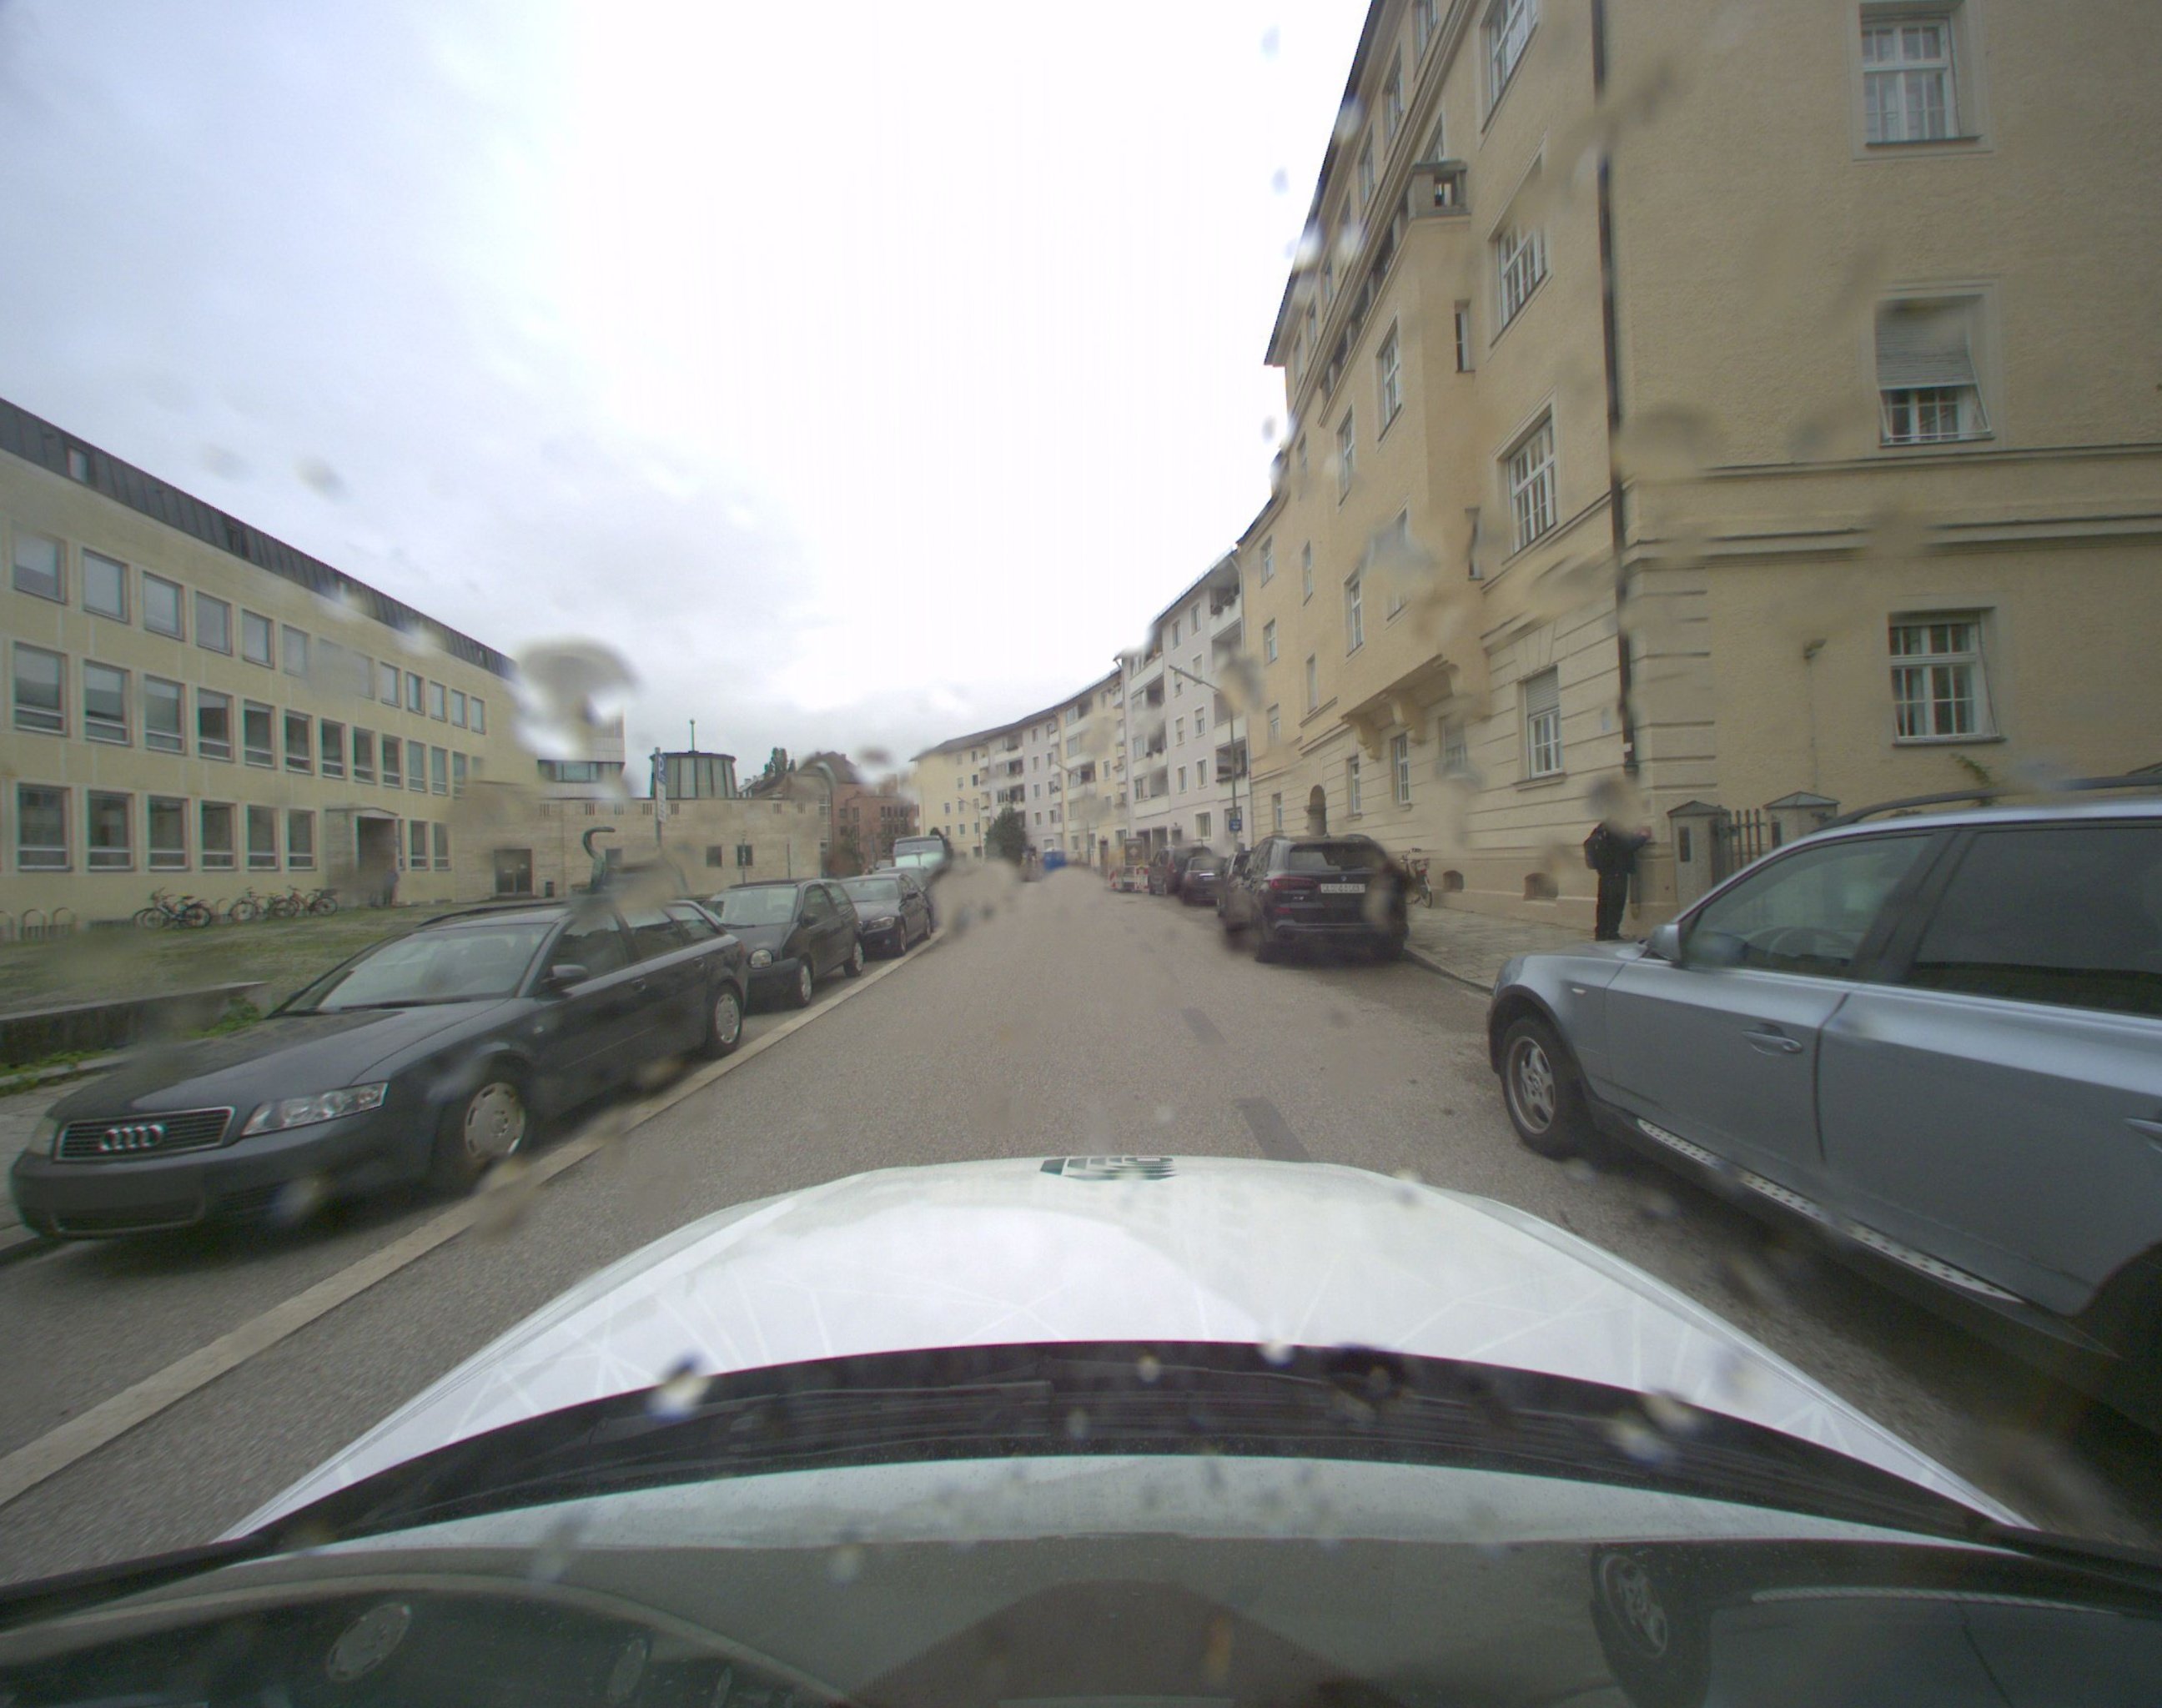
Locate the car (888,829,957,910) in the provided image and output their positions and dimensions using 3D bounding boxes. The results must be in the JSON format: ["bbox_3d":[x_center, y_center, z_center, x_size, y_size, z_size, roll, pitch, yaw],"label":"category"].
[{"bbox_3d":[-5.898,0.560,30.414,2.145,2.574,6.187,-3,0,-11],"label":"car"}]

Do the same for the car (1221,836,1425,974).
[{"bbox_3d":[3.437,0.615,12.558,1.920,1.730,4.690,0,1,2],"label":"car"}]

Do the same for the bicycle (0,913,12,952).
[{"bbox_3d":[-26.500,1.862,19.075,1.903,0.917,0.436,0,-1,-14],"label":"bicycle"}]

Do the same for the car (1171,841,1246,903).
[{"bbox_3d":[3.785,0.522,24.747,1.829,1.730,3.732,0,-1,2],"label":"car"}]

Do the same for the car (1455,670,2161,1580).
[{"bbox_3d":[2.980,0.527,2.518,1.771,1.730,4.392,0,-1,2],"label":"car"}]

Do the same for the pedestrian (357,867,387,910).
[{"bbox_3d":[-29.264,1.411,33.615,0.715,1.744,0.643,0,-1,-17],"label":"pedestrian"}]

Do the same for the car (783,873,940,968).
[{"bbox_3d":[-3.848,1.109,15.042,1.716,1.364,4.211,-4,-1,-1],"label":"car"}]

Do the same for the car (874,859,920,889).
[{"bbox_3d":[-11.930,1.271,52.509,2.003,1.772,4.776,-2,0,-24],"label":"car"}]

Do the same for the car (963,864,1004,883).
[{"bbox_3d":[-9.132,1.815,75.701,2.040,1.678,4.566,0,-1,-32],"label":"car"}]

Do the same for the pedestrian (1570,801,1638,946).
[{"bbox_3d":[6.651,0.242,10.358,0.676,1.760,0.698,-1,-1,33],"label":"pedestrian"}]

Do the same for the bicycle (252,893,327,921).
[{"bbox_3d":[-27.733,1.852,28.558,1.903,0.917,0.436,0,-1,-14],"label":"bicycle"}]

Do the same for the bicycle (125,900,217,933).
[{"bbox_3d":[-27.308,1.860,24.457,1.903,0.917,0.436,0,-1,-14],"label":"bicycle"}]

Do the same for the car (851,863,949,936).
[{"bbox_3d":[-4.192,1.015,19.292,1.663,1.460,2.865,-4,-1,-2],"label":"car"}]

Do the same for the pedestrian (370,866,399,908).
[{"bbox_3d":[-29.596,1.386,34.627,0.715,1.744,0.643,0,-1,-17],"label":"pedestrian"}]

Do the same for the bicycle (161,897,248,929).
[{"bbox_3d":[-27.412,1.834,25.485,1.878,0.940,0.530,0,-1,-10],"label":"bicycle"}]

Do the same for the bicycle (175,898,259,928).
[{"bbox_3d":[-27.742,1.879,26.173,1.903,0.917,0.436,0,-1,-14],"label":"bicycle"}]

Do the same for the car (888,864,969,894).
[{"bbox_3d":[-7.986,1.283,42.887,1.654,1.530,4.007,-1,-1,42],"label":"car"}]

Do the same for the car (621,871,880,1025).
[{"bbox_3d":[-3.930,1.024,10.424,1.716,1.481,3.753,-4,-1,-1],"label":"car"}]

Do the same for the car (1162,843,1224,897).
[{"bbox_3d":[4.004,0.572,29.760,1.829,1.799,4.240,0,-1,2],"label":"car"}]

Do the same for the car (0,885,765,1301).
[{"bbox_3d":[-3.809,1.051,5.403,1.716,1.481,4.203,-4,-1,-1],"label":"car"}]

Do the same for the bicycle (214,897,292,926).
[{"bbox_3d":[-28.097,1.935,27.659,1.903,0.917,0.436,0,-1,-14],"label":"bicycle"}]

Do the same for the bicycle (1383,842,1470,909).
[{"bbox_3d":[7.068,0.435,16.831,0.699,1.246,2.645,-2,-1,2],"label":"bicycle"}]

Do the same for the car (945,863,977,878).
[{"bbox_3d":[-11.800,1.611,79.942,1.670,1.349,3.763,0,-3,-34],"label":"car"}]

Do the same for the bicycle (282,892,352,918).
[{"bbox_3d":[-28.152,1.878,30.024,1.903,0.917,0.436,0,-1,-14],"label":"bicycle"}]

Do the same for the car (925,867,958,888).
[{"bbox_3d":[-14.398,2.364,83.950,1.759,2.082,4.470,0,-1,-32],"label":"car"}]

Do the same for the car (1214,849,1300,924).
[{"bbox_3d":[3.910,0.706,18.461,1.501,1.557,2.865,0,-1,4],"label":"car"}]
